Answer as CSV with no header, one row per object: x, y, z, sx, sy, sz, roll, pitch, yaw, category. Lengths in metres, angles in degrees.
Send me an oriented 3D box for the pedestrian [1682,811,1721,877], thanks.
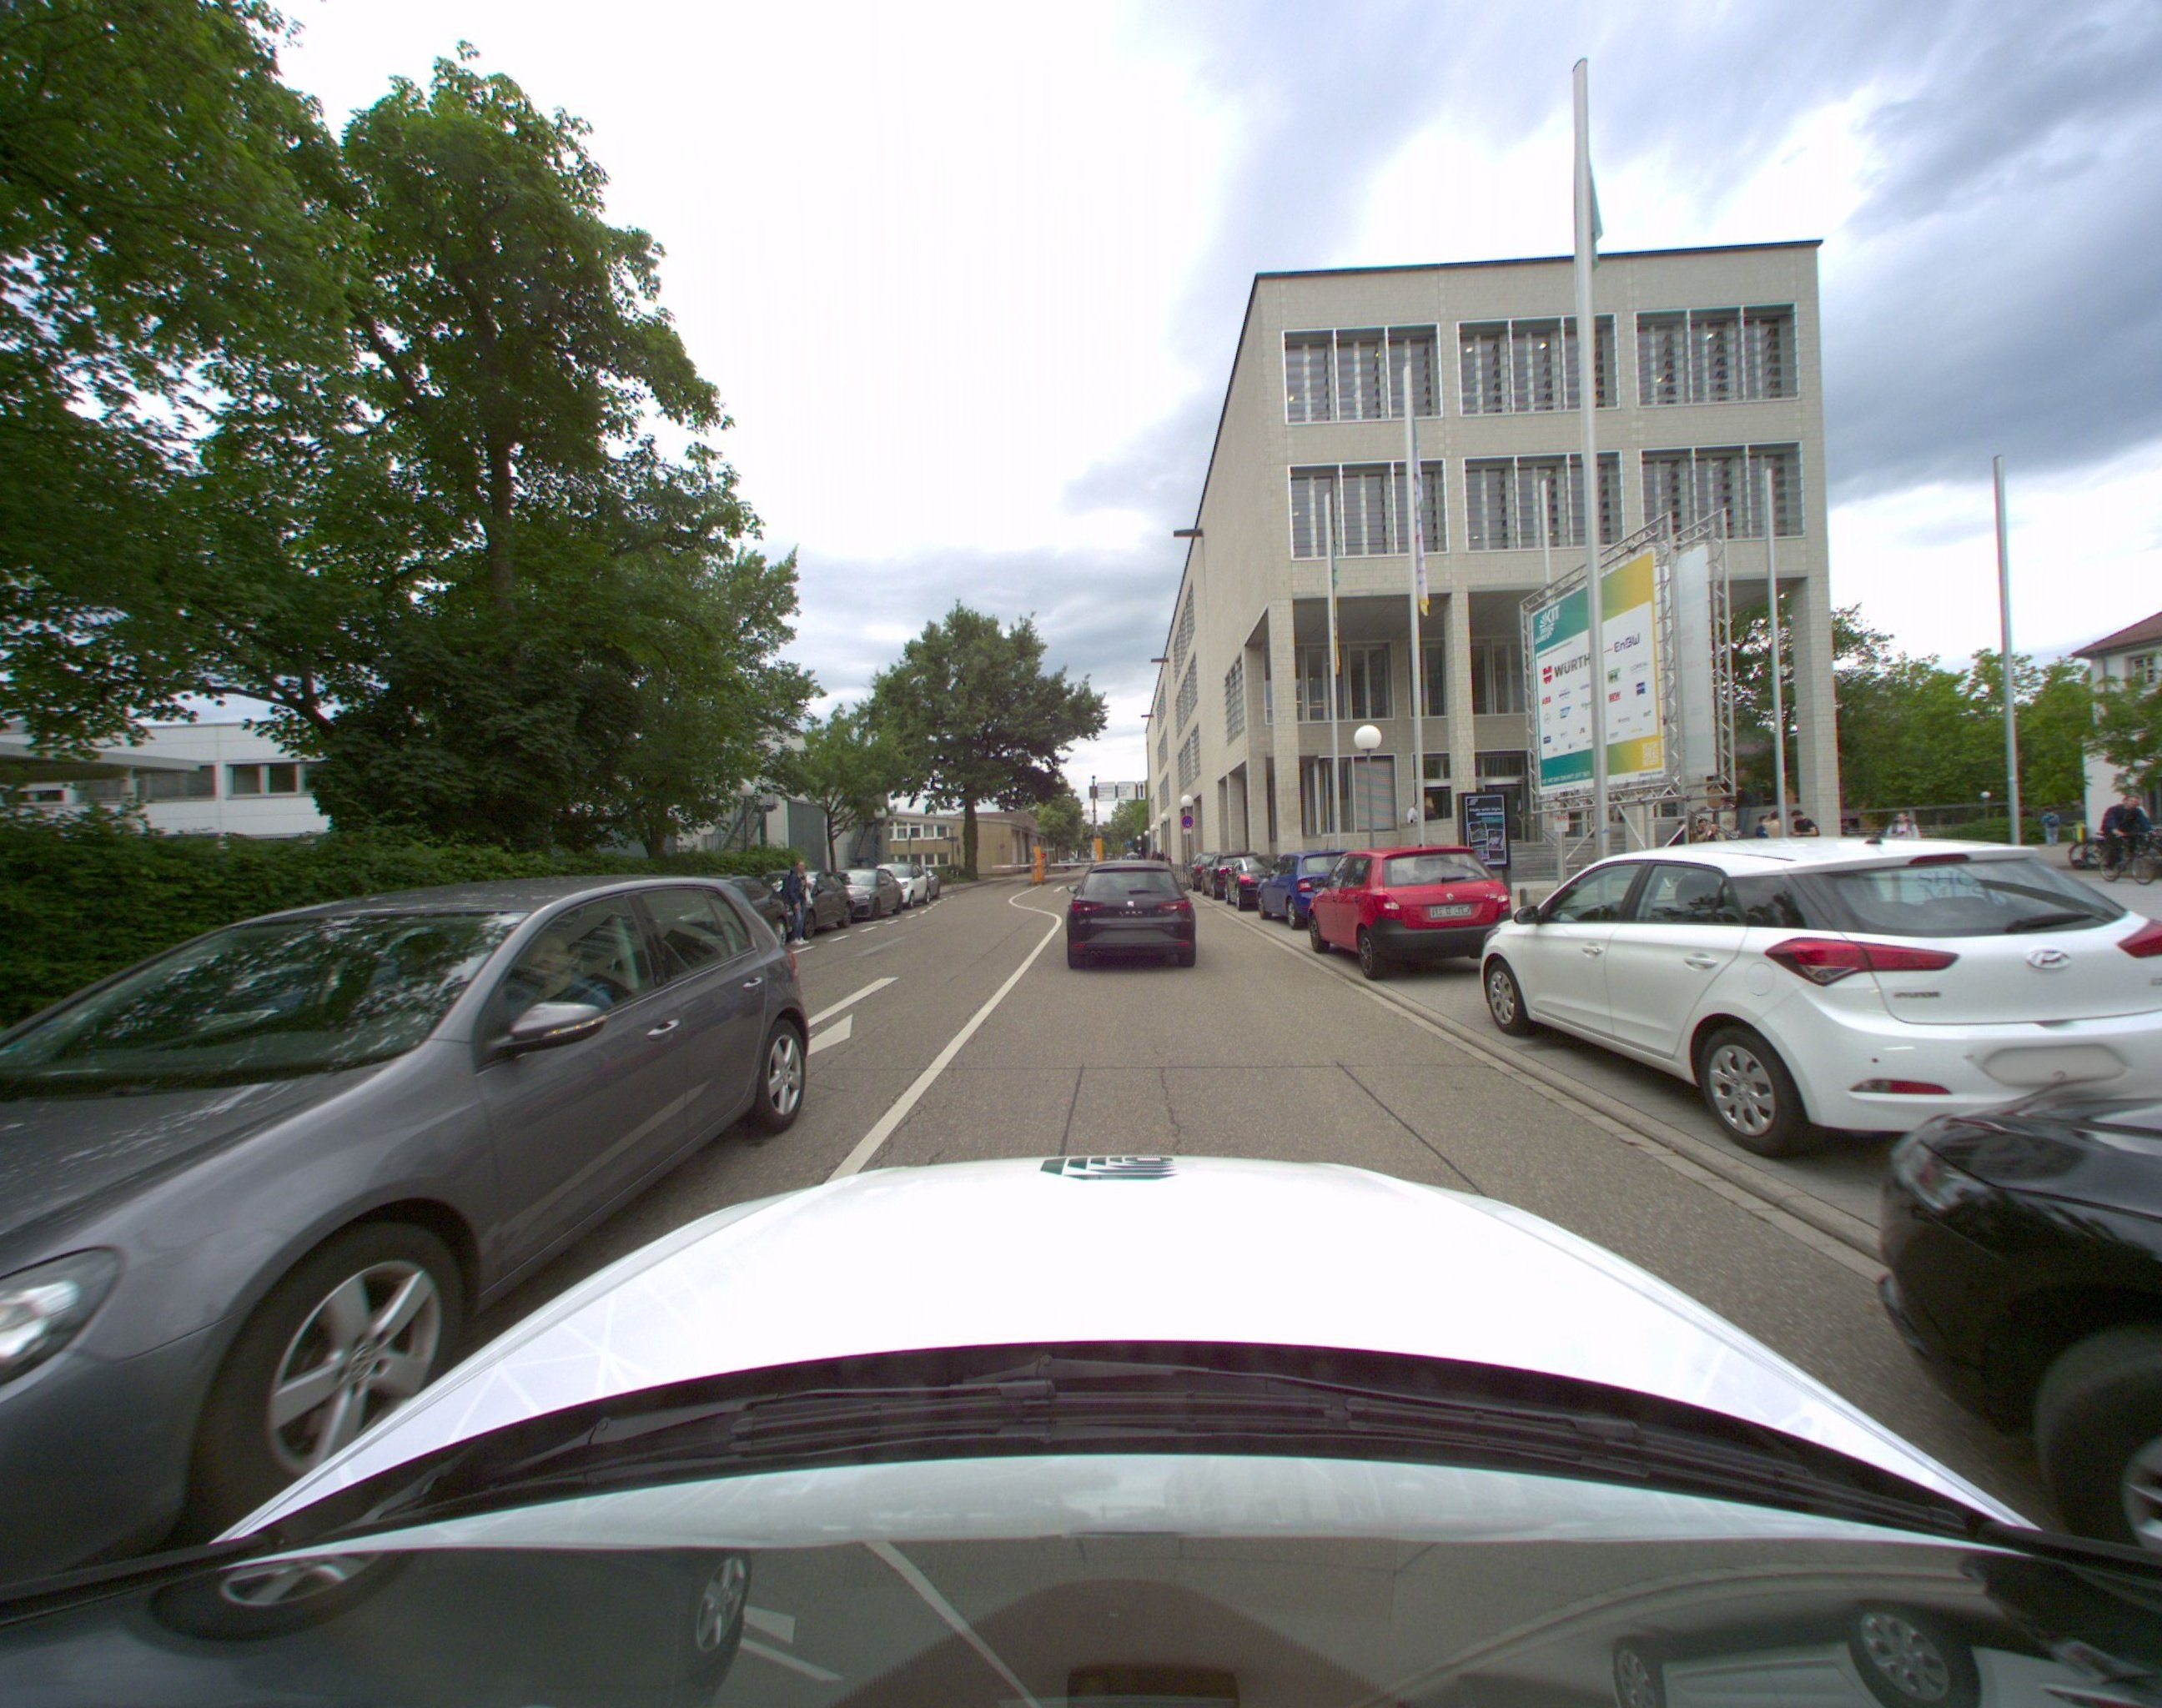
17.658,-0.282,23.195,0.588,1.841,0.621,-2,-1,3,pedestrian

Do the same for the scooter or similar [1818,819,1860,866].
22.941,-0.353,24.649,1.495,1.369,0.402,-2,2,-26,scooter or similar

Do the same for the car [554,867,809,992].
-6.328,1.089,13.611,1.790,1.561,4.533,-3,0,2,car

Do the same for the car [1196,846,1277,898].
4.974,0.553,26.659,1.811,1.443,4.522,-4,0,1,car

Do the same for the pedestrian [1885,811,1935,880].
20.407,-0.226,20.066,0.727,1.640,0.938,0,2,37,pedestrian

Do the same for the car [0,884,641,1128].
-6.337,1.093,7.521,1.788,1.408,4.344,-3,-1,6,car

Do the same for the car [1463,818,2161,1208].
4.152,0.599,5.030,1.853,1.453,3.861,-2,0,2,car

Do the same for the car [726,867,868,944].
-6.414,1.103,18.874,1.755,1.471,3.827,-3,-1,2,car

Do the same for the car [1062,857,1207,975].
0.749,0.784,12.343,1.775,1.419,4.132,-2,0,2,car

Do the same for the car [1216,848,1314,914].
4.782,0.647,21.769,1.840,1.442,4.423,-2,1,3,car

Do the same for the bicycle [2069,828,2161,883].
21.905,0.017,17.104,0.865,1.093,1.812,-2,0,30,bicycle

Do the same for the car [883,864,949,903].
-6.727,1.174,33.575,1.812,1.389,4.193,-2,0,0,car

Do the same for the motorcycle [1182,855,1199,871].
8.290,0.674,61.530,0.560,1.148,2.231,0,2,27,motorcycle

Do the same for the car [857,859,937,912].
-6.260,1.024,28.145,1.709,1.586,3.879,-2,0,2,car

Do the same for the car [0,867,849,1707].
-2.518,0.861,3.245,1.776,1.497,4.170,-3,-1,2,car

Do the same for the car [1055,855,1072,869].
-2.137,0.994,99.362,1.764,1.601,4.001,-2,0,1,car

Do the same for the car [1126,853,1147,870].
5.917,0.840,87.091,1.986,1.622,4.429,-3,-1,2,car

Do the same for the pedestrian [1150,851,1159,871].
6.152,0.577,68.312,0.693,1.714,0.490,-2,0,4,pedestrian

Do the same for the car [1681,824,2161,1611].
3.109,0.657,0.402,1.860,1.401,4.465,-5,0,-9,car

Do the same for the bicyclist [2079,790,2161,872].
21.878,-0.473,17.101,0.865,1.641,0.873,-2,0,30,bicyclist

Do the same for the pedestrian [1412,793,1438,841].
12.047,-1.296,28.511,0.797,1.658,0.635,0,2,27,pedestrian

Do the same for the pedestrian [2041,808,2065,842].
47.314,-1.399,39.635,0.670,1.641,0.654,-2,0,-44,pedestrian

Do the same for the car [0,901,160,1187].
-6.727,1.056,2.929,1.789,1.469,4.253,-3,-1,4,car

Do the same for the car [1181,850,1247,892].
5.216,0.649,32.493,1.986,1.452,4.925,-3,-1,2,car

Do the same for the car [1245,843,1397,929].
4.690,0.587,16.587,1.690,1.411,4.374,-3,-1,-1,car

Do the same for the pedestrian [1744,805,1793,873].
18.472,-0.416,21.897,0.720,1.784,0.734,-2,2,-11,pedestrian

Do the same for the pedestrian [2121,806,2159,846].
45.220,-1.197,34.768,0.658,1.641,0.666,-2,-1,-1,pedestrian

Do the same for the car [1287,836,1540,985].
4.123,0.602,10.927,1.705,1.473,4.276,-5,0,2,car

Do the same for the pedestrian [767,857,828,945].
-5.661,0.915,16.310,0.735,1.661,0.969,-3,0,4,pedestrian

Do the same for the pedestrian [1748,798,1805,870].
17.691,-0.492,20.721,0.762,1.785,0.734,-2,-1,-11,pedestrian

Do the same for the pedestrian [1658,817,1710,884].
15.430,-0.085,20.853,0.752,1.669,0.706,-2,-1,3,pedestrian

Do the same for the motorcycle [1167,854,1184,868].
9.073,0.674,78.112,0.752,1.148,2.679,0,2,27,motorcycle

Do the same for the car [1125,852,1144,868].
5.972,0.713,91.624,1.986,1.622,4.431,-4,0,2,car

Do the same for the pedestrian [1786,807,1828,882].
18.662,-0.248,20.930,0.783,1.865,0.596,-2,-1,-39,pedestrian

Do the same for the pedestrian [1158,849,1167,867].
7.614,0.367,76.047,0.726,1.698,0.587,-1,2,-3,pedestrian

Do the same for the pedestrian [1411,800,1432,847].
12.292,-1.087,29.417,0.624,1.658,0.811,-1,2,18,pedestrian

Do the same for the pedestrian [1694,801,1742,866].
17.403,-0.557,22.247,0.773,1.715,0.604,-2,-1,3,pedestrian

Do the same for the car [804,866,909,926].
-6.233,1.109,23.117,1.757,1.411,4.009,-2,0,1,car
